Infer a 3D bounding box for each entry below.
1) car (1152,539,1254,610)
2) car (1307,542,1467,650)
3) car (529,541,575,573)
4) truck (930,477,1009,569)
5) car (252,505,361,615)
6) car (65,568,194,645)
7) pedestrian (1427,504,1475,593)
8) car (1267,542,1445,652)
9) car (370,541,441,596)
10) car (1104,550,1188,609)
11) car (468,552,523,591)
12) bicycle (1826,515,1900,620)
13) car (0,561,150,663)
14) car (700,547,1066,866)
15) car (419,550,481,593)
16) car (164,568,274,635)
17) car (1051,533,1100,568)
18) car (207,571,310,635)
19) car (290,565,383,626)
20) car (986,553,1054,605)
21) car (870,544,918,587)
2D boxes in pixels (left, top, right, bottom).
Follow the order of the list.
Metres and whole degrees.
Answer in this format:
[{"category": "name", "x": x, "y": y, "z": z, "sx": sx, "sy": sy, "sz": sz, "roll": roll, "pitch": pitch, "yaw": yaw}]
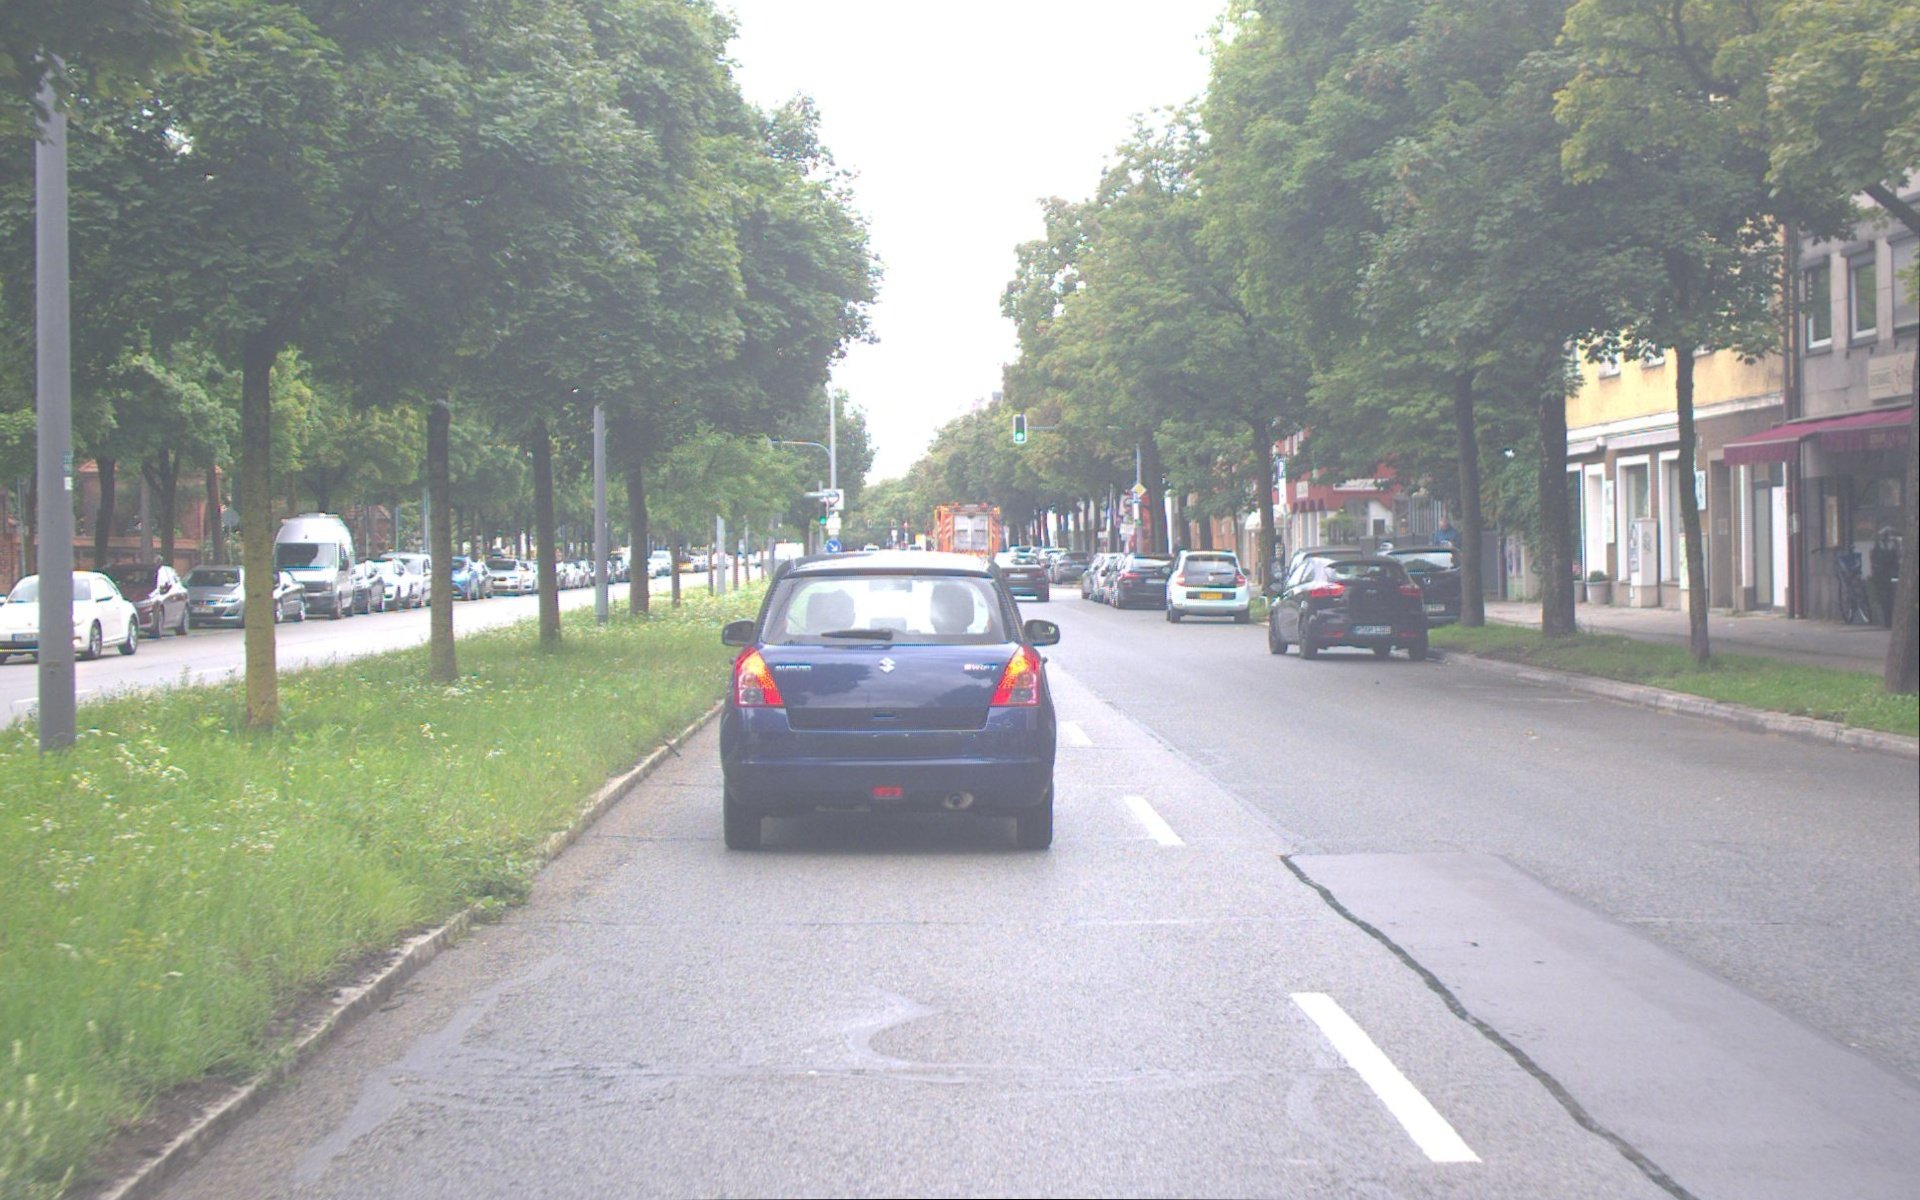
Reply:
[{"category": "car", "x": 5.132, "y": -0.559, "z": 73.080, "sx": 1.653, "sy": 1.447, "sz": 4.001, "roll": -1, "pitch": 1, "yaw": -3}, {"category": "car", "x": 6.889, "y": -0.099, "z": 55.876, "sx": 1.993, "sy": 1.637, "sz": 4.333, "roll": -1, "pitch": 1, "yaw": -1}, {"category": "car", "x": -19.898, "y": -2.102, "z": 167.619, "sx": 1.801, "sy": 1.529, "sz": 4.000, "roll": -1, "pitch": 1, "yaw": -1}, {"category": "truck", "x": 0.359, "y": -3.102, "z": 139.506, "sx": 3.041, "sy": 3.545, "sz": 13.675, "roll": 0, "pitch": 1, "yaw": 0}, {"category": "car", "x": -18.077, "y": -1.133, "z": 95.359, "sx": 2.185, "sy": 2.943, "sz": 6.193, "roll": 0, "pitch": 1, "yaw": -3}, {"category": "car", "x": -17.614, "y": 0.111, "z": 73.083, "sx": 1.813, "sy": 1.531, "sz": 4.299, "roll": 0, "pitch": 1, "yaw": -2}, {"category": "pedestrian", "x": 10.569, "y": -1.111, "z": 74.032, "sx": 0.792, "sy": 1.849, "sz": 0.777, "roll": -3, "pitch": 1, "yaw": -3}, {"category": "car", "x": 5.514, "y": -0.071, "z": 48.333, "sx": 1.993, "sy": 1.447, "sz": 4.000, "roll": -1, "pitch": 1, "yaw": -1}, {"category": "car", "x": -18.206, "y": -1.039, "z": 112.974, "sx": 1.706, "sy": 1.728, "sz": 4.000, "roll": -1, "pitch": 1, "yaw": -1}, {"category": "car", "x": 4.829, "y": -0.562, "z": 89.631, "sx": 1.653, "sy": 1.447, "sz": 4.709, "roll": -1, "pitch": 1, "yaw": -3}, {"category": "car", "x": -19.480, "y": -1.206, "z": 144.218, "sx": 1.801, "sy": 1.529, "sz": 4.000, "roll": -1, "pitch": 1, "yaw": -1}, {"category": "bicycle", "x": 12.951, "y": -0.476, "z": 49.348, "sx": 0.580, "sy": 1.458, "sz": 1.688, "roll": -1, "pitch": 1, "yaw": -1}, {"category": "car", "x": -15.166, "y": 0.180, "z": 58.110, "sx": 1.761, "sy": 1.532, "sz": 4.315, "roll": -3, "pitch": 1, "yaw": 1}, {"category": "car", "x": -0.377, "y": 0.485, "z": 18.627, "sx": 1.753, "sy": 1.499, "sz": 4.000, "roll": -1, "pitch": 1, "yaw": 0}, {"category": "car", "x": -18.831, "y": -1.058, "z": 127.049, "sx": 1.706, "sy": 1.529, "sz": 4.000, "roll": -1, "pitch": 1, "yaw": -1}, {"category": "car", "x": -17.806, "y": 0.010, "z": 82.827, "sx": 1.813, "sy": 1.531, "sz": 4.442, "roll": 0, "pitch": 1, "yaw": -2}, {"category": "car", "x": 5.227, "y": -2.266, "z": 155.675, "sx": 1.993, "sy": 1.525, "sz": 4.000, "roll": -1, "pitch": 1, "yaw": -1}, {"category": "car", "x": -17.971, "y": 0.052, "z": 88.257, "sx": 1.813, "sy": 1.531, "sz": 4.820, "roll": 0, "pitch": 1, "yaw": -2}, {"category": "car", "x": -18.451, "y": -0.158, "z": 101.934, "sx": 2.185, "sy": 1.730, "sz": 4.579, "roll": 0, "pitch": 1, "yaw": -3}, {"category": "car", "x": 1.770, "y": -0.640, "z": 102.752, "sx": 1.821, "sy": 1.472, "sz": 4.691, "roll": 1, "pitch": 1, "yaw": -1}, {"category": "car", "x": -2.370, "y": -1.249, "z": 123.479, "sx": 1.718, "sy": 1.495, "sz": 4.301, "roll": 0, "pitch": 1, "yaw": -1}]
